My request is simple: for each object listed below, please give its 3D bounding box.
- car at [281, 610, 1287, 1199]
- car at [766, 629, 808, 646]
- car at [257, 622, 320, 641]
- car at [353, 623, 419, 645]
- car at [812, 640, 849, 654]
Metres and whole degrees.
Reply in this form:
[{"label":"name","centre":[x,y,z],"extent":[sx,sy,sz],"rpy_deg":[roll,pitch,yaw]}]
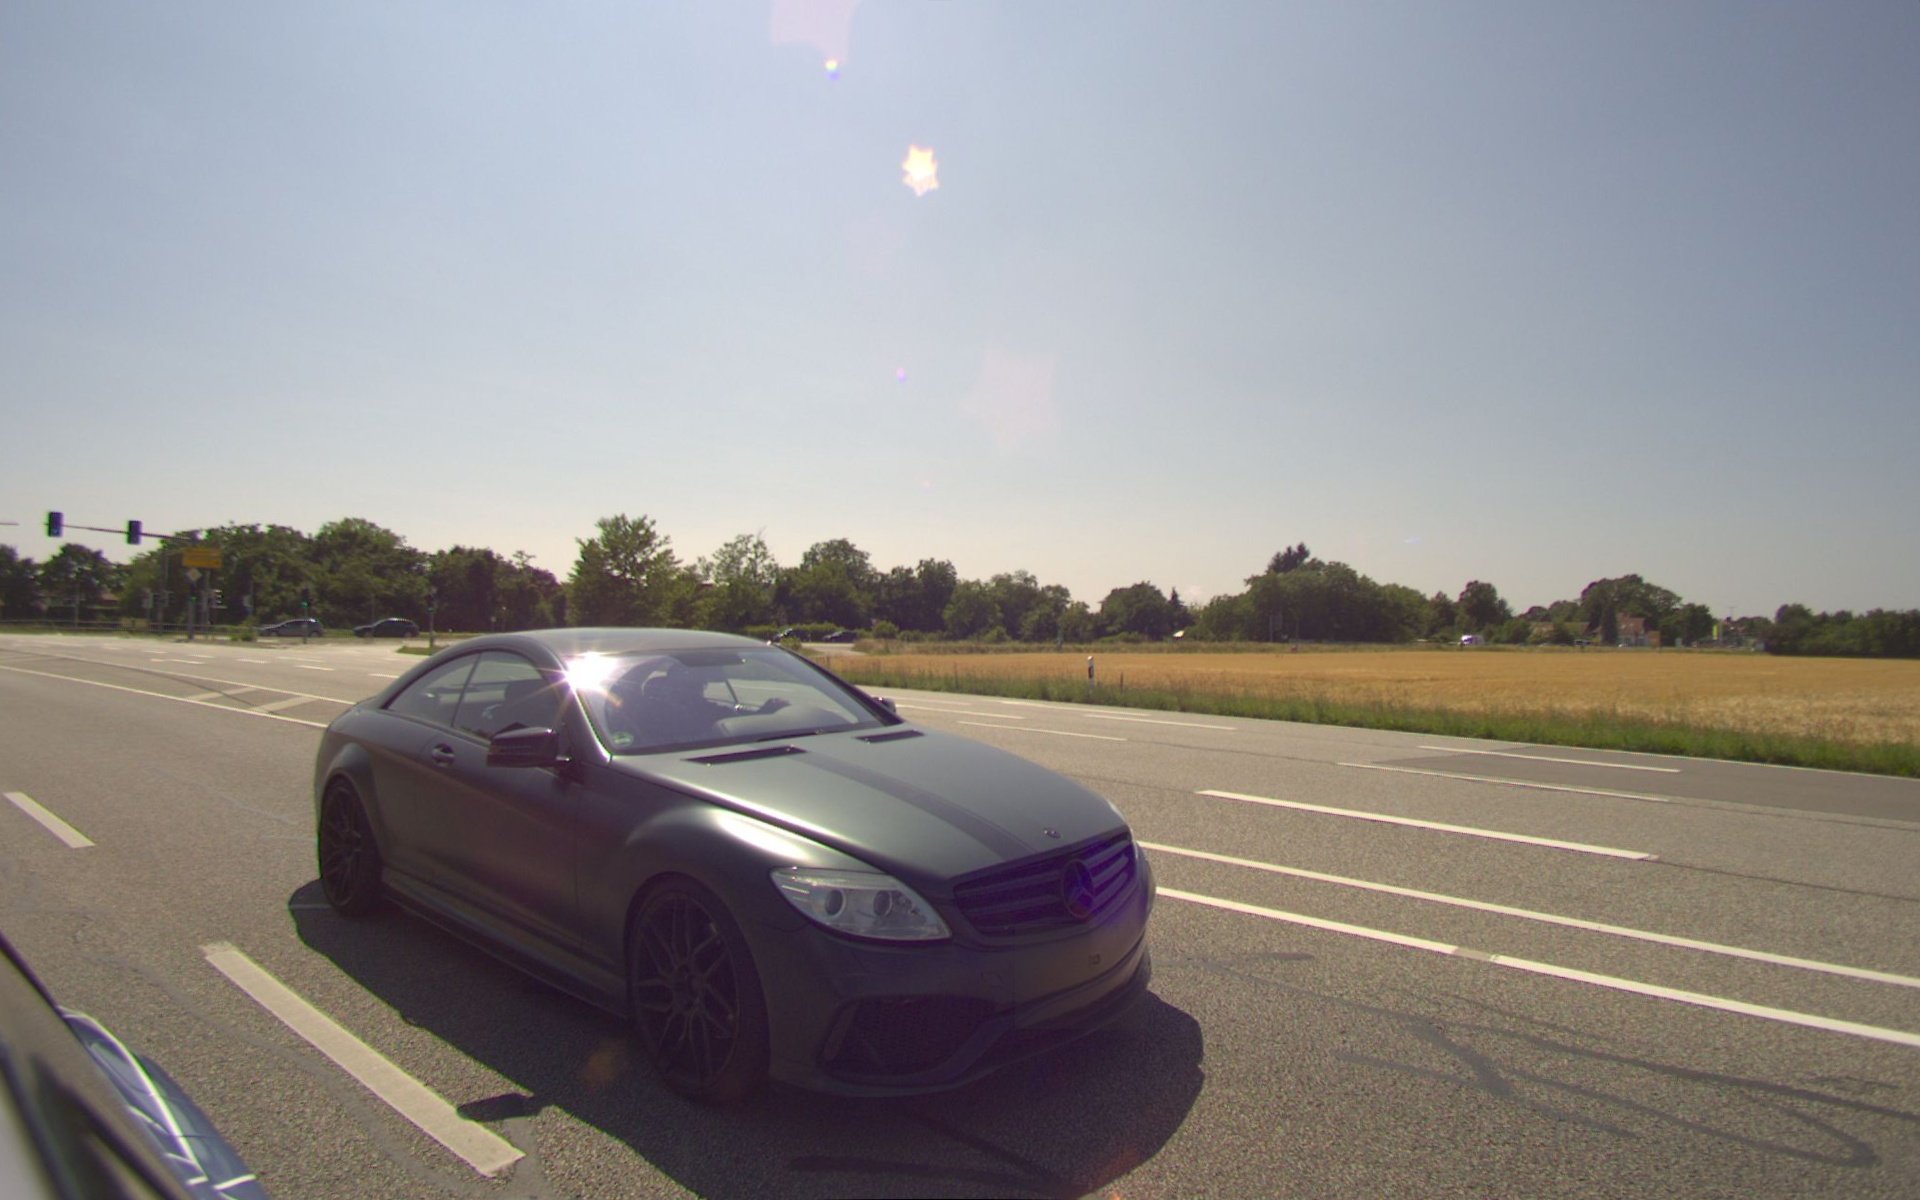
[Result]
[{"label":"car","centre":[-1.245,0.790,4.559],"extent":[4.874,1.461,1.792],"rpy_deg":[-1,-1,41]},{"label":"car","centre":[-17.620,3.817,103.047],"extent":[3.940,1.586,1.739],"rpy_deg":[0,0,-44]},{"label":"car","centre":[-50.451,2.380,76.096],"extent":[3.818,1.397,1.638],"rpy_deg":[2,-3,-38]},{"label":"car","centre":[-45.342,2.665,79.982],"extent":[4.297,1.606,1.639],"rpy_deg":[3,-3,-36]},{"label":"car","centre":[-14.142,5.169,110.738],"extent":[3.712,1.397,1.503],"rpy_deg":[3,-3,-36]}]
